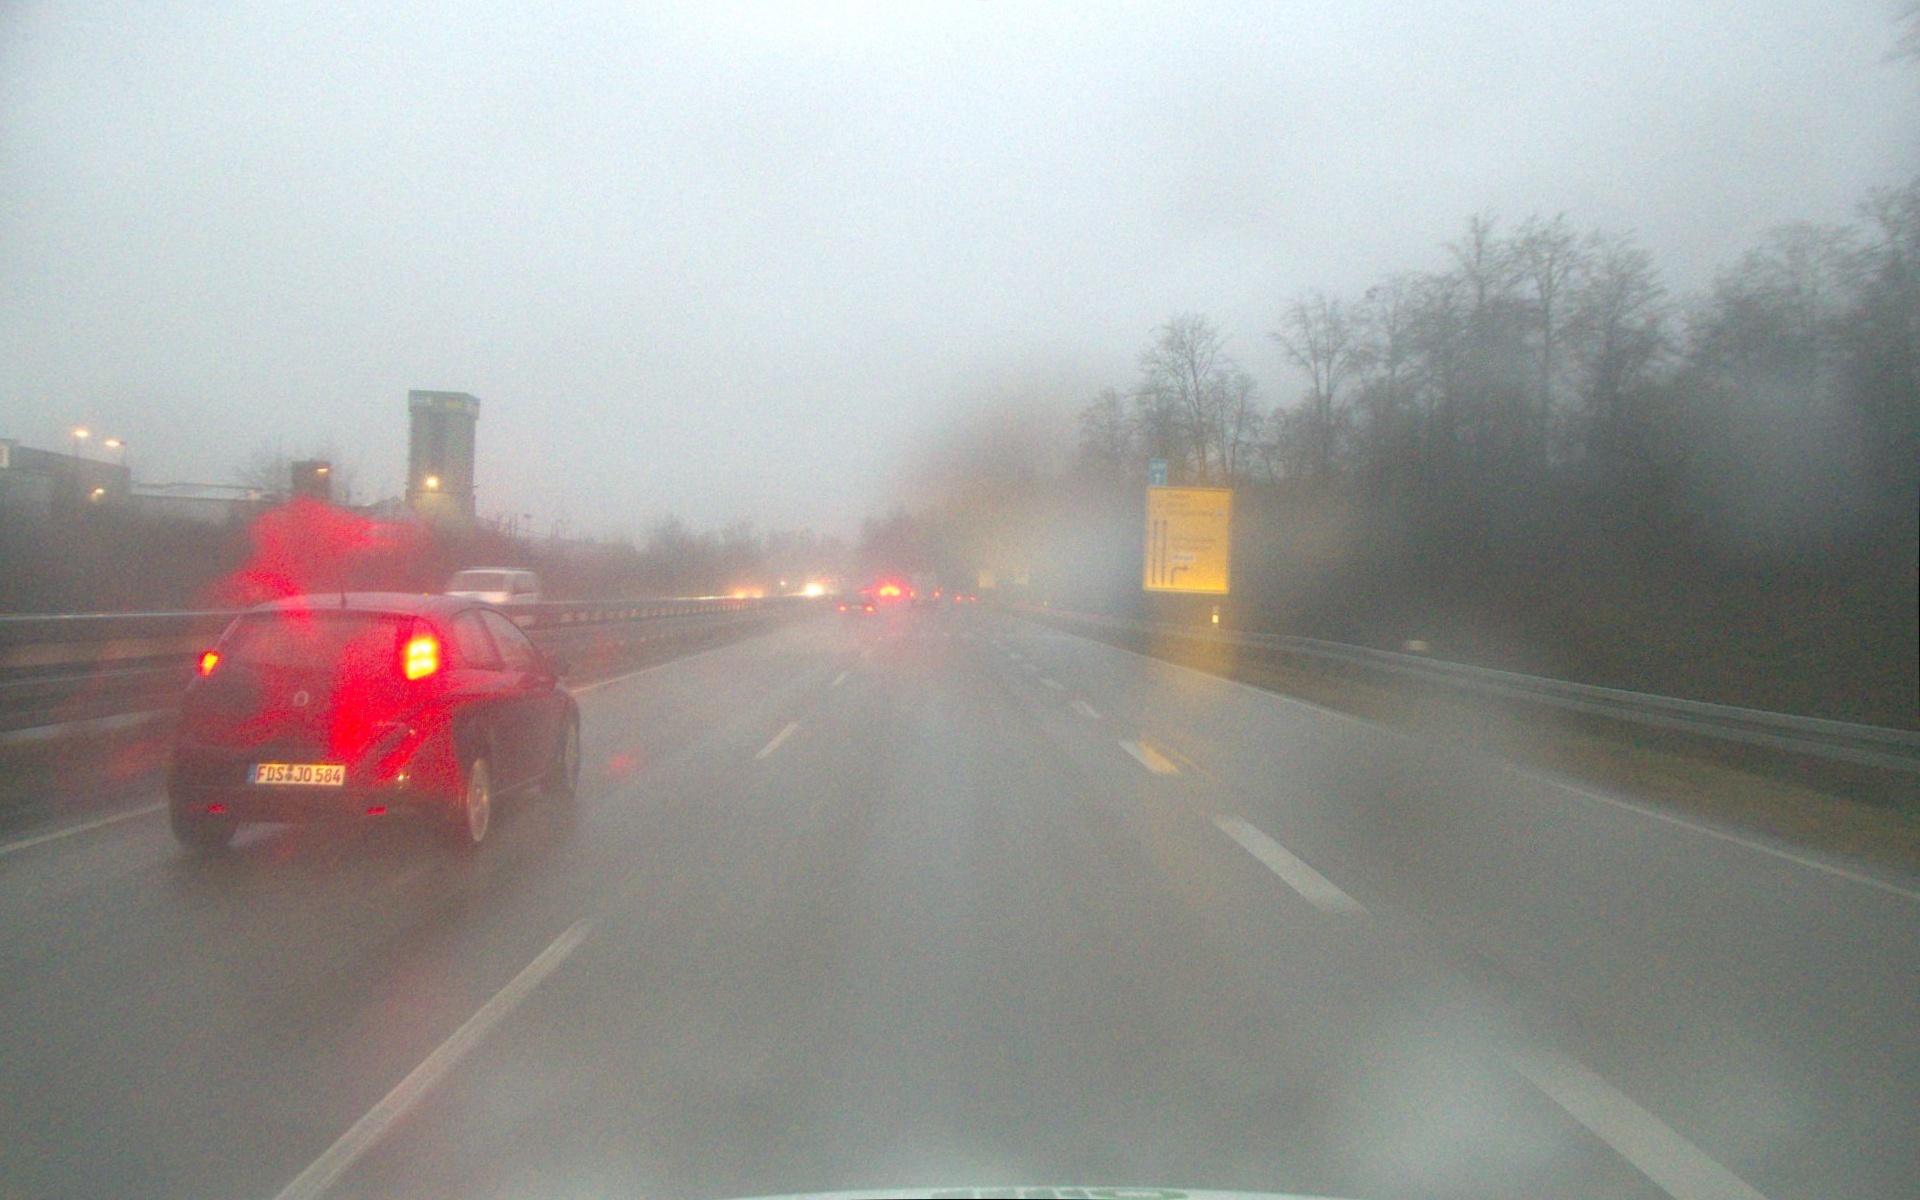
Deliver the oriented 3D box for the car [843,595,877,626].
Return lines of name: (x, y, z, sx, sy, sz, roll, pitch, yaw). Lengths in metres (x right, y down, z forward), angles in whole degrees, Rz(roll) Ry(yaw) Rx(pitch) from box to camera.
car: (-4.590, 0.474, 75.891, 1.387, 1.340, 3.082, 2, 0, -1)

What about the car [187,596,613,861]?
car: (-3.525, 0.719, 11.196, 1.593, 1.416, 3.998, 2, 0, -2)

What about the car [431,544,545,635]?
car: (-13.785, -0.241, 48.633, 1.888, 2.337, 4.886, 2, -3, 0)
